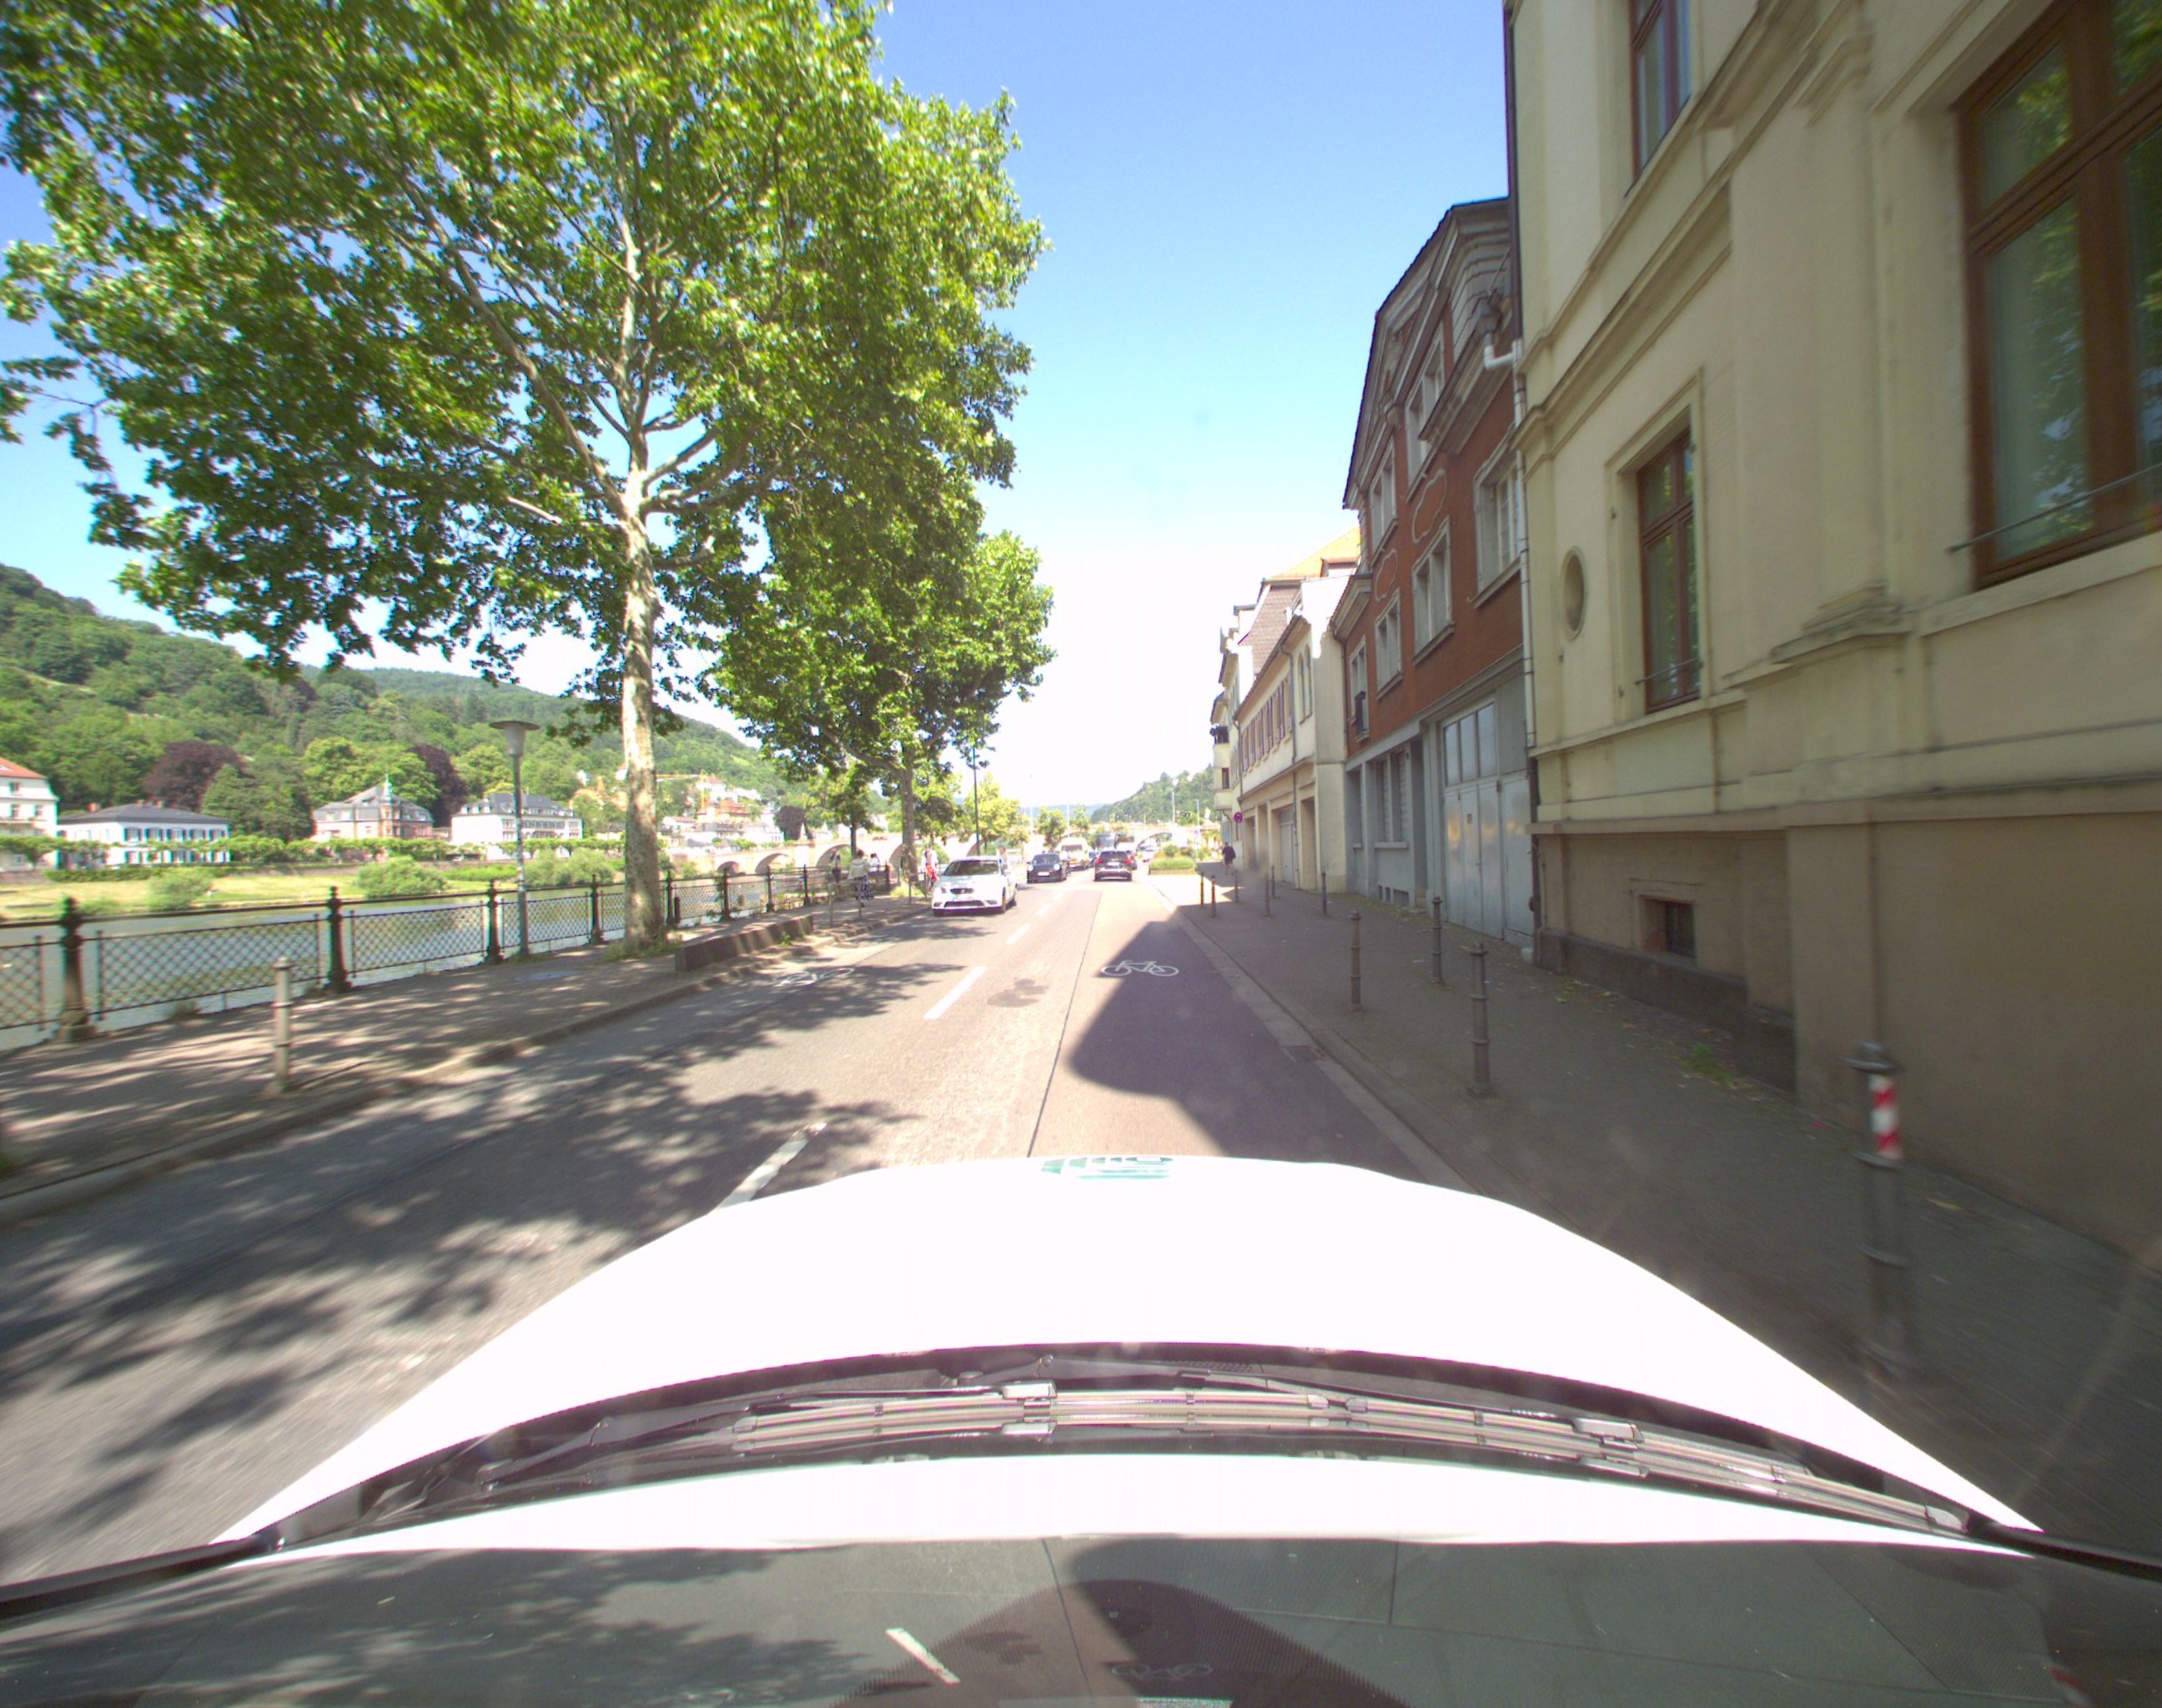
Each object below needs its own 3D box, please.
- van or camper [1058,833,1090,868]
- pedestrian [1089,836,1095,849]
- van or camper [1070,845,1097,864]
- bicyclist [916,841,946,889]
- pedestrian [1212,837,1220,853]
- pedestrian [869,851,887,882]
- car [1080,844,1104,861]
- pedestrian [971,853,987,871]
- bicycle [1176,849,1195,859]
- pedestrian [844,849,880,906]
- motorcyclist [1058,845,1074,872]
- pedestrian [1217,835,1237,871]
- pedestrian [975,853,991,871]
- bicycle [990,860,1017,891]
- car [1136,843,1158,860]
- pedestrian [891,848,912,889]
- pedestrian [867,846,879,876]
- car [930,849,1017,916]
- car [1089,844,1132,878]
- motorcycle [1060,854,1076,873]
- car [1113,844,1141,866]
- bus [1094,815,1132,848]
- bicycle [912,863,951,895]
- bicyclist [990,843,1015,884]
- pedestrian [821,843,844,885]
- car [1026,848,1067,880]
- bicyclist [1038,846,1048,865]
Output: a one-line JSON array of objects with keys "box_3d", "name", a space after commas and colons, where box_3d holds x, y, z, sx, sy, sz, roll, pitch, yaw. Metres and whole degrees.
[{"box_3d": [-0.503, -0.263, 65.166, 2.079, 2.557, 7.097, -2, 0, 3], "name": "van or camper"}, {"box_3d": [1.456, -1.500, 107.551, 0.616, 1.780, 0.664, -2, 0, 9], "name": "pedestrian"}, {"box_3d": [0.254, 0.031, 73.580, 1.985, 1.454, 4.688, -4, 0, 4], "name": "van or camper"}, {"box_3d": [-5.212, 0.375, 28.355, 0.716, 1.583, 1.090, -2, 0, 3], "name": "bicyclist"}, {"box_3d": [13.753, -0.899, 82.908, 0.757, 1.595, 0.698, -2, 0, 9], "name": "pedestrian"}, {"box_3d": [-10.898, 0.685, 43.786, 0.689, 1.616, 0.665, -2, 0, 9], "name": "pedestrian"}, {"box_3d": [1.114, -0.153, 80.869, 1.804, 1.428, 4.319, -4, 1, 7], "name": "car"}, {"box_3d": [-7.565, 0.595, 60.469, 0.931, 1.281, 0.852, -2, 0, 10], "name": "pedestrian"}, {"box_3d": [10.289, -0.003, 80.206, 1.801, 0.878, 0.503, 0, 1, 5], "name": "bicycle"}, {"box_3d": [-6.309, 0.665, 23.484, 0.759, 1.586, 0.696, -2, 0, 1], "name": "pedestrian"}, {"box_3d": [-0.894, 0.289, 49.896, 0.875, 1.583, 1.025, -2, 0, 0], "name": "motorcyclist"}, {"box_3d": [7.200, -0.039, 40.133, 0.758, 1.713, 0.697, -5, 0, 5], "name": "pedestrian"}, {"box_3d": [-7.401, 0.587, 61.370, 0.931, 1.281, 0.852, -2, 0, 10], "name": "pedestrian"}, {"box_3d": [-2.950, 0.814, 31.210, 0.737, 1.077, 1.955, -1, 1, 3], "name": "bicycle"}, {"box_3d": [6.821, -0.257, 83.844, 1.916, 1.553, 4.841, -3, 0, 6], "name": "car"}, {"box_3d": [-7.526, 0.589, 34.130, 0.653, 1.682, 0.759, 0, 0, 2], "name": "pedestrian"}, {"box_3d": [-11.005, 0.374, 43.158, 0.412, 1.597, 0.452, -2, 0, 9], "name": "pedestrian"}, {"box_3d": [-2.704, 0.661, 21.331, 1.696, 1.445, 4.091, -1, 2, 0], "name": "car"}, {"box_3d": [1.461, 0.339, 40.070, 1.919, 1.553, 4.834, -1, 0, 2], "name": "car"}, {"box_3d": [-0.795, 0.580, 49.872, 0.881, 1.077, 2.326, -3, 0, -2], "name": "motorcycle"}, {"box_3d": [3.323, 0.076, 59.115, 1.918, 1.461, 4.836, -2, 0, 3], "name": "car"}, {"box_3d": [3.993, -2.544, 98.065, 2.615, 3.564, 13.020, -2, 0, 10], "name": "bus"}, {"box_3d": [-5.182, 0.847, 28.327, 0.751, 0.979, 1.956, -2, 1, 6], "name": "bicycle"}, {"box_3d": [-2.998, 0.354, 31.154, 0.763, 1.531, 1.026, -1, 2, 3], "name": "bicyclist"}, {"box_3d": [-11.696, 0.464, 38.345, 0.691, 1.945, 0.887, -2, 0, 1], "name": "pedestrian"}, {"box_3d": [-1.679, 0.482, 41.219, 1.694, 1.458, 4.004, -3, 0, 2], "name": "car"}, {"box_3d": [-3.528, 0.129, 74.963, 0.737, 1.667, 1.090, -2, 1, 3], "name": "bicyclist"}]
